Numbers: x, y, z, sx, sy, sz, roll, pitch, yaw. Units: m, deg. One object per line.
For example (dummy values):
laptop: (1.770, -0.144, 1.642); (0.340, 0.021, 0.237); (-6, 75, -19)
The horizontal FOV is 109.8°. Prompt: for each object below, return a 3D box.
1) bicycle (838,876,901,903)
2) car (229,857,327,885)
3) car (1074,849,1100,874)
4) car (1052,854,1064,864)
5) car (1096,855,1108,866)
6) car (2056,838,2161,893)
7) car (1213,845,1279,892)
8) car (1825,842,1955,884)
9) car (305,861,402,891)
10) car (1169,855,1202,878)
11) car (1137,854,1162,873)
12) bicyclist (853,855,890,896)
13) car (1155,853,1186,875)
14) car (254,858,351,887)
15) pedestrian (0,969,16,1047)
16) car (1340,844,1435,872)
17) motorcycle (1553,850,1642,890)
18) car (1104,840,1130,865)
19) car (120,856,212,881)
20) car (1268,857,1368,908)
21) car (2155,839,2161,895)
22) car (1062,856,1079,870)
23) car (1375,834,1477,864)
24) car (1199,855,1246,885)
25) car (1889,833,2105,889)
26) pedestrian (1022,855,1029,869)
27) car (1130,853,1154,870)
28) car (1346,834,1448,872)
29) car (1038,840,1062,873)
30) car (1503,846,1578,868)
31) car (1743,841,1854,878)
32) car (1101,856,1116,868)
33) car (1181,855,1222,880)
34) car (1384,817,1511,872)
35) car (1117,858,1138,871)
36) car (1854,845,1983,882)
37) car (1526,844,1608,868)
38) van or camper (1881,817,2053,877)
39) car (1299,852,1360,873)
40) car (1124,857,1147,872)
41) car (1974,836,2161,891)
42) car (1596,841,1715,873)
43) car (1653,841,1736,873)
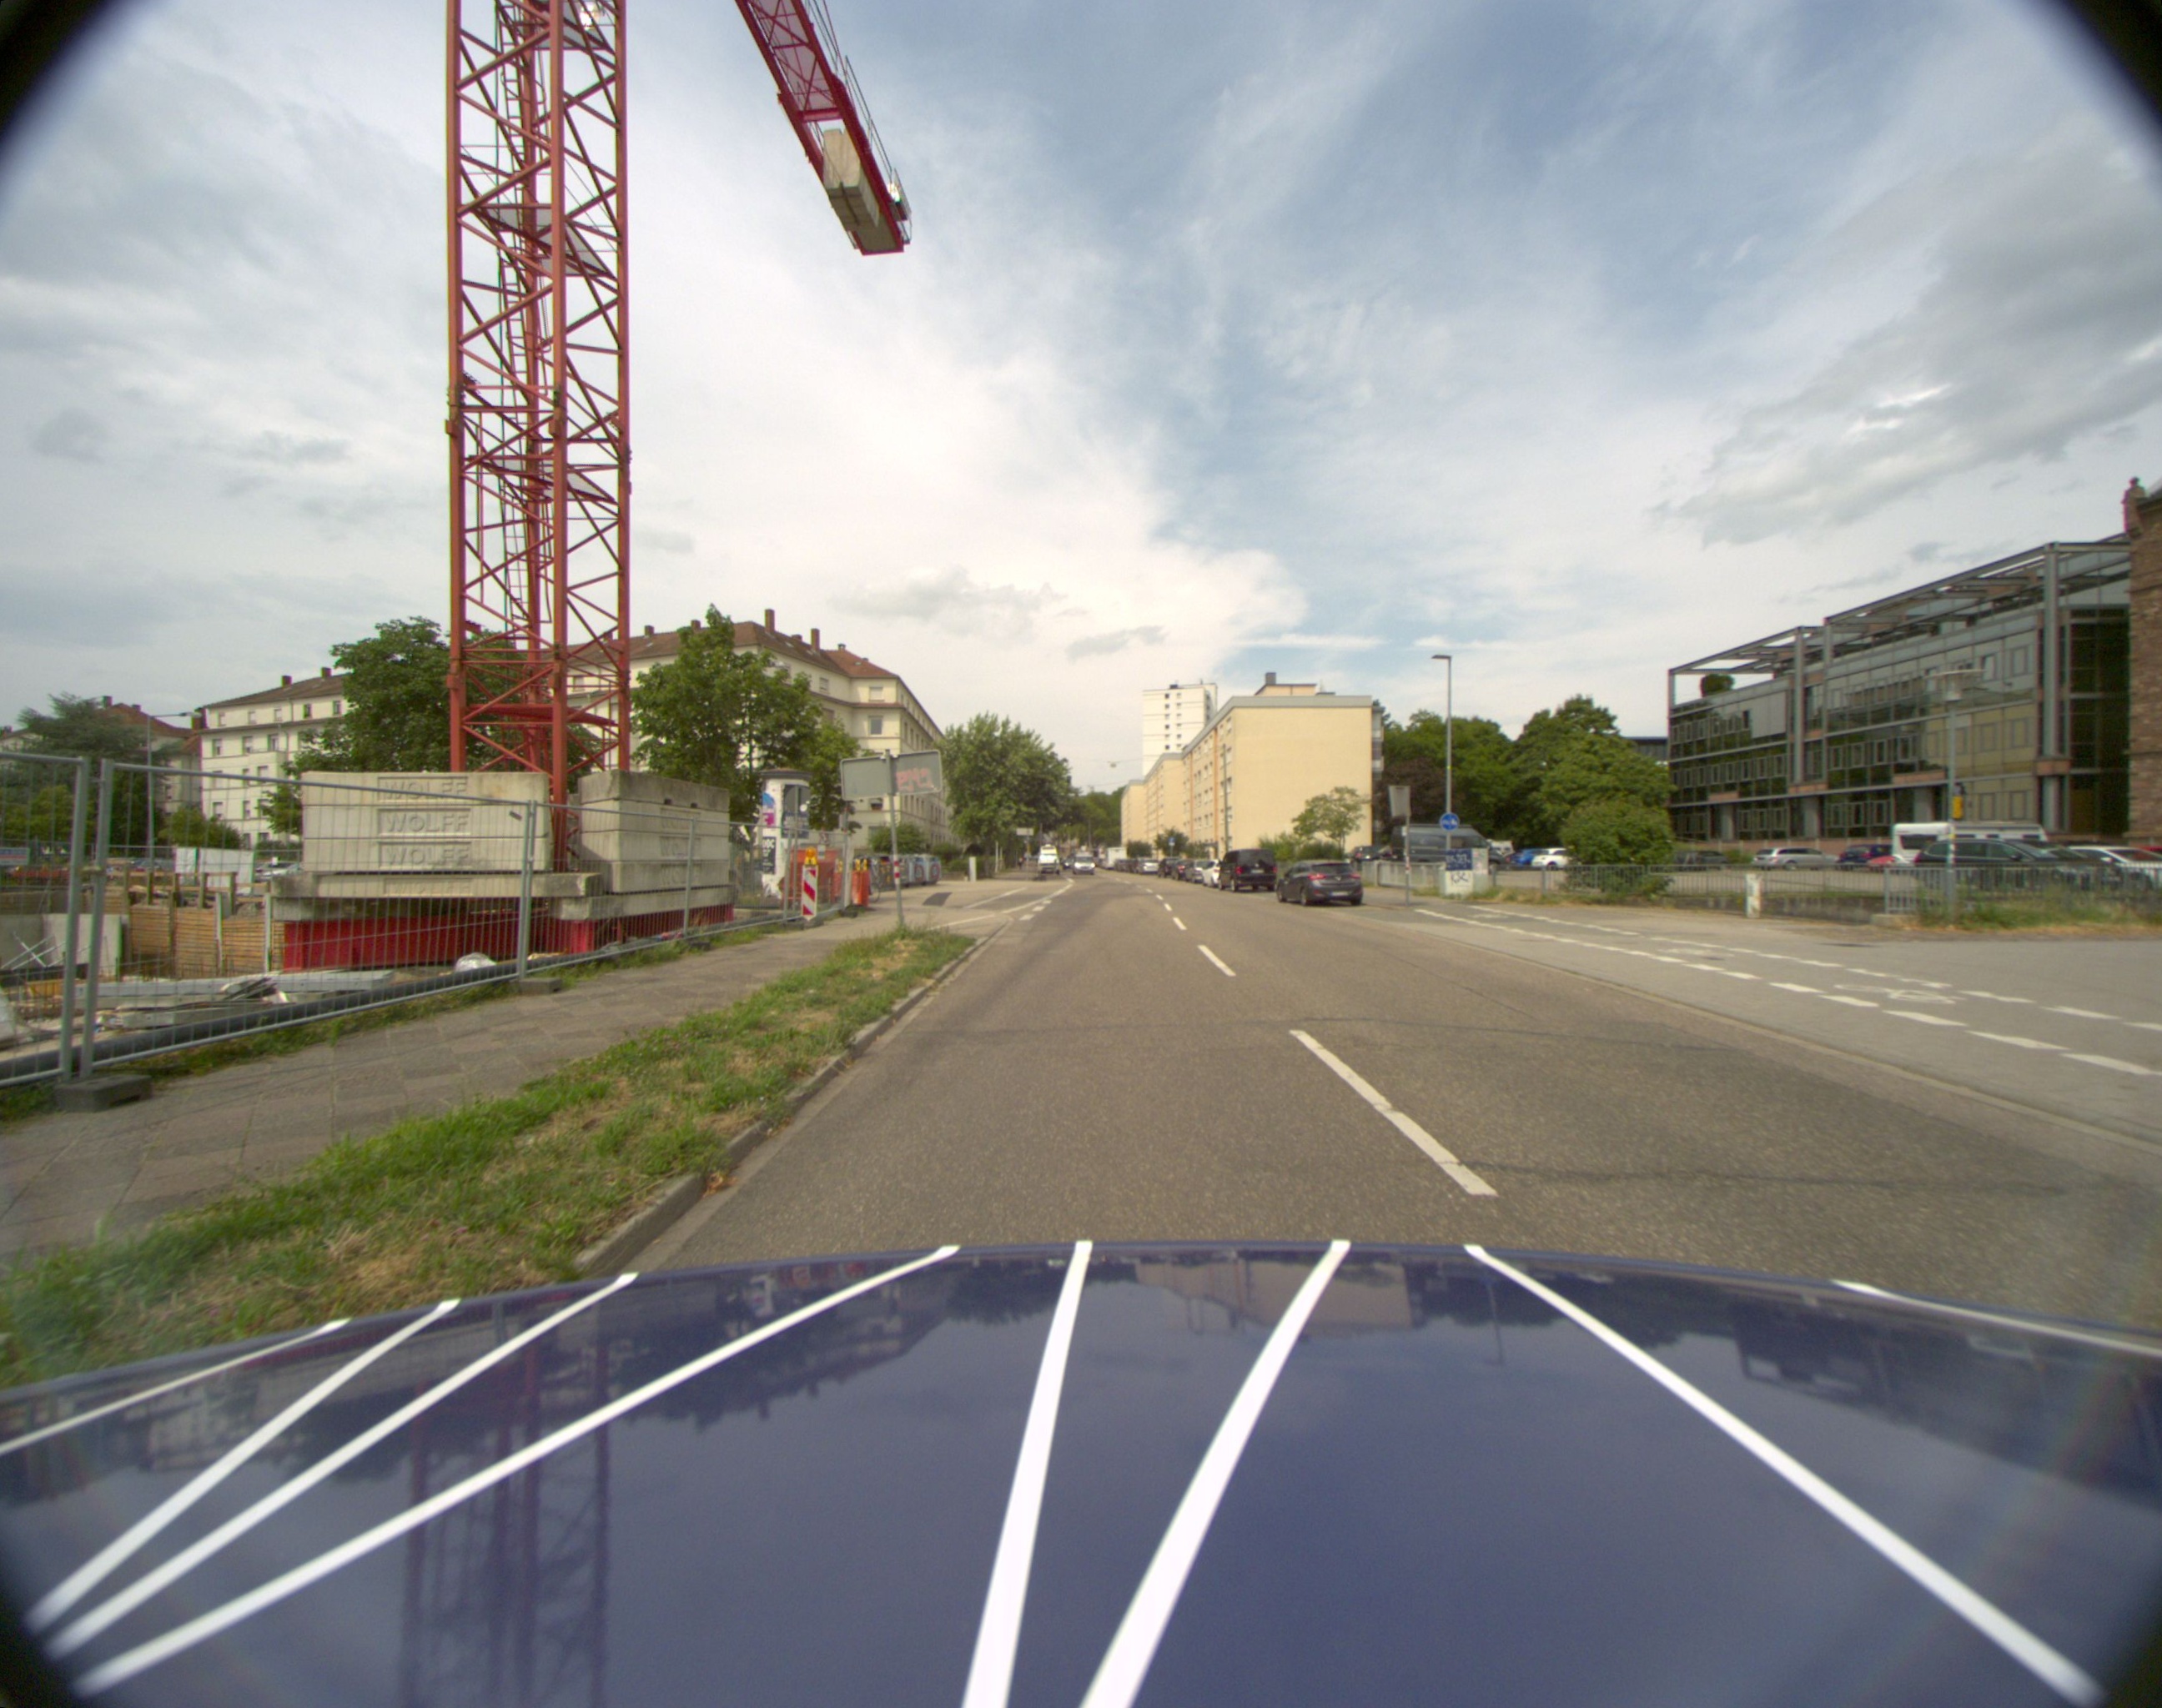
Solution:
bicycle: (-7.577, 1.270, 27.182); (2.473, 0.927, 0.716); (-1, -1, 33)
car: (-52.364, 1.068, 49.629); (1.796, 1.580, 3.924); (-3, 1, 21)
car: (0.479, 0.618, 66.163); (1.999, 2.002, 3.999); (1, 0, -3)
car: (-4.012, 0.787, 133.109); (1.949, 1.656, 3.999); (1, 0, -3)
car: (3.347, 1.033, 122.315); (1.724, 1.787, 3.894); (1, 0, -3)
car: (42.568, 0.477, 30.503); (4.372, 2.124, 1.805); (1, 0, 2)
car: (7.597, 0.630, 35.516); (1.954, 1.992, 4.843); (-2, 0, -1)
car: (42.953, 0.444, 40.422); (4.371, 2.124, 2.205); (1, 0, 4)
car: (-45.174, 1.355, 47.281); (1.796, 1.580, 3.924); (-3, 1, 21)
car: (7.185, 0.817, 52.473); (1.691, 1.462, 4.048); (-1, 0, 0)
car: (6.155, 0.849, 68.828); (1.791, 1.554, 4.551); (-2, 0, -1)
bicyclist: (-7.481, 0.778, 27.130); (1.078, 1.404, 0.716); (-3, -2, 33)
car: (6.808, 0.739, 58.052); (1.626, 1.565, 3.998); (-1, 0, -4)
car: (-50.002, 1.156, 48.893); (1.796, 1.580, 3.924); (-3, 1, 21)
pedestrian: (-25.574, 3.625, 17.788); (0.842, 1.712, 0.722); (2, 1, 38)
car: (19.034, 0.247, 47.337); (5.097, 1.663, 2.001); (0, 0, 3)
motorcycle: (15.438, 0.461, 22.749); (2.095, 1.135, 0.725); (1, 1, 5)
car: (4.569, -0.140, 98.272); (2.622, 3.039, 7.112); (1, 0, -3)
car: (-68.448, 1.062, 56.914); (1.796, 1.580, 3.924); (-3, 1, 21)
car: (7.727, 0.883, 25.203); (1.827, 1.464, 4.297); (-2, 0, -2)
car: (42.935, 0.516, 27.931); (4.372, 2.124, 1.726); (1, 0, 1)
car: (-1.287, 1.056, 93.016); (1.999, 1.656, 3.999); (1, 0, -3)
car: (18.977, -0.259, 41.981); (4.707, 1.608, 2.001); (0, 0, 2)
car: (7.554, 0.850, 40.940); (1.658, 1.520, 3.764); (-1, 0, -2)
car: (29.742, 0.196, 24.925); (1.969, 1.646, 4.234); (-1, 1, -1)
pedestrian: (-7.223, 1.010, 98.407); (0.808, 1.793, 0.763); (1, 1, -3)
car: (5.947, 0.678, 74.591); (1.722, 1.615, 3.838); (-1, 0, -4)
car: (18.515, -0.042, 44.773); (5.097, 2.137, 2.229); (0, 0, 3)
car: (-2.659, 0.192, 64.770); (1.900, 2.587, 4.903); (-3, 1, -3)
car: (31.238, 0.184, 51.738); (3.997, 1.474, 1.857); (-1, 1, 0)
car: (42.664, 0.334, 45.290); (4.371, 2.124, 2.205); (1, 0, 4)
car: (3.972, 1.152, 110.311); (1.853, 1.623, 4.217); (1, 0, -3)
car: (7.324, 0.796, 46.651); (1.692, 1.448, 4.263); (-1, 0, -2)
car: (18.853, -0.473, 39.322); (5.324, 2.537, 2.355); (-3, 0, 2)
car: (5.191, 1.165, 85.825); (1.722, 1.498, 4.623); (0, 0, -5)
car: (42.208, 0.469, 38.383); (4.371, 1.773, 1.727); (1, 0, 4)
car: (31.384, 0.094, 49.147); (3.997, 1.474, 1.970); (-1, 1, 0)
van or camper: (41.520, -0.330, 35.724); (5.061, 2.687, 2.581); (0, 0, -1)
car: (18.645, 0.648, 57.135); (3.995, 1.474, 2.001); (-1, 1, 6)
car: (5.649, 1.049, 79.380); (1.681, 1.495, 4.262); (-1, 0, -5)
car: (32.812, 0.262, 24.954); (1.969, 1.646, 4.234); (-1, 1, -1)
car: (31.430, 0.173, 41.675); (4.703, 1.654, 2.331); (1, 0, 2)
car: (42.584, 0.235, 52.799); (4.228, 2.124, 1.971); (1, 0, -1)
